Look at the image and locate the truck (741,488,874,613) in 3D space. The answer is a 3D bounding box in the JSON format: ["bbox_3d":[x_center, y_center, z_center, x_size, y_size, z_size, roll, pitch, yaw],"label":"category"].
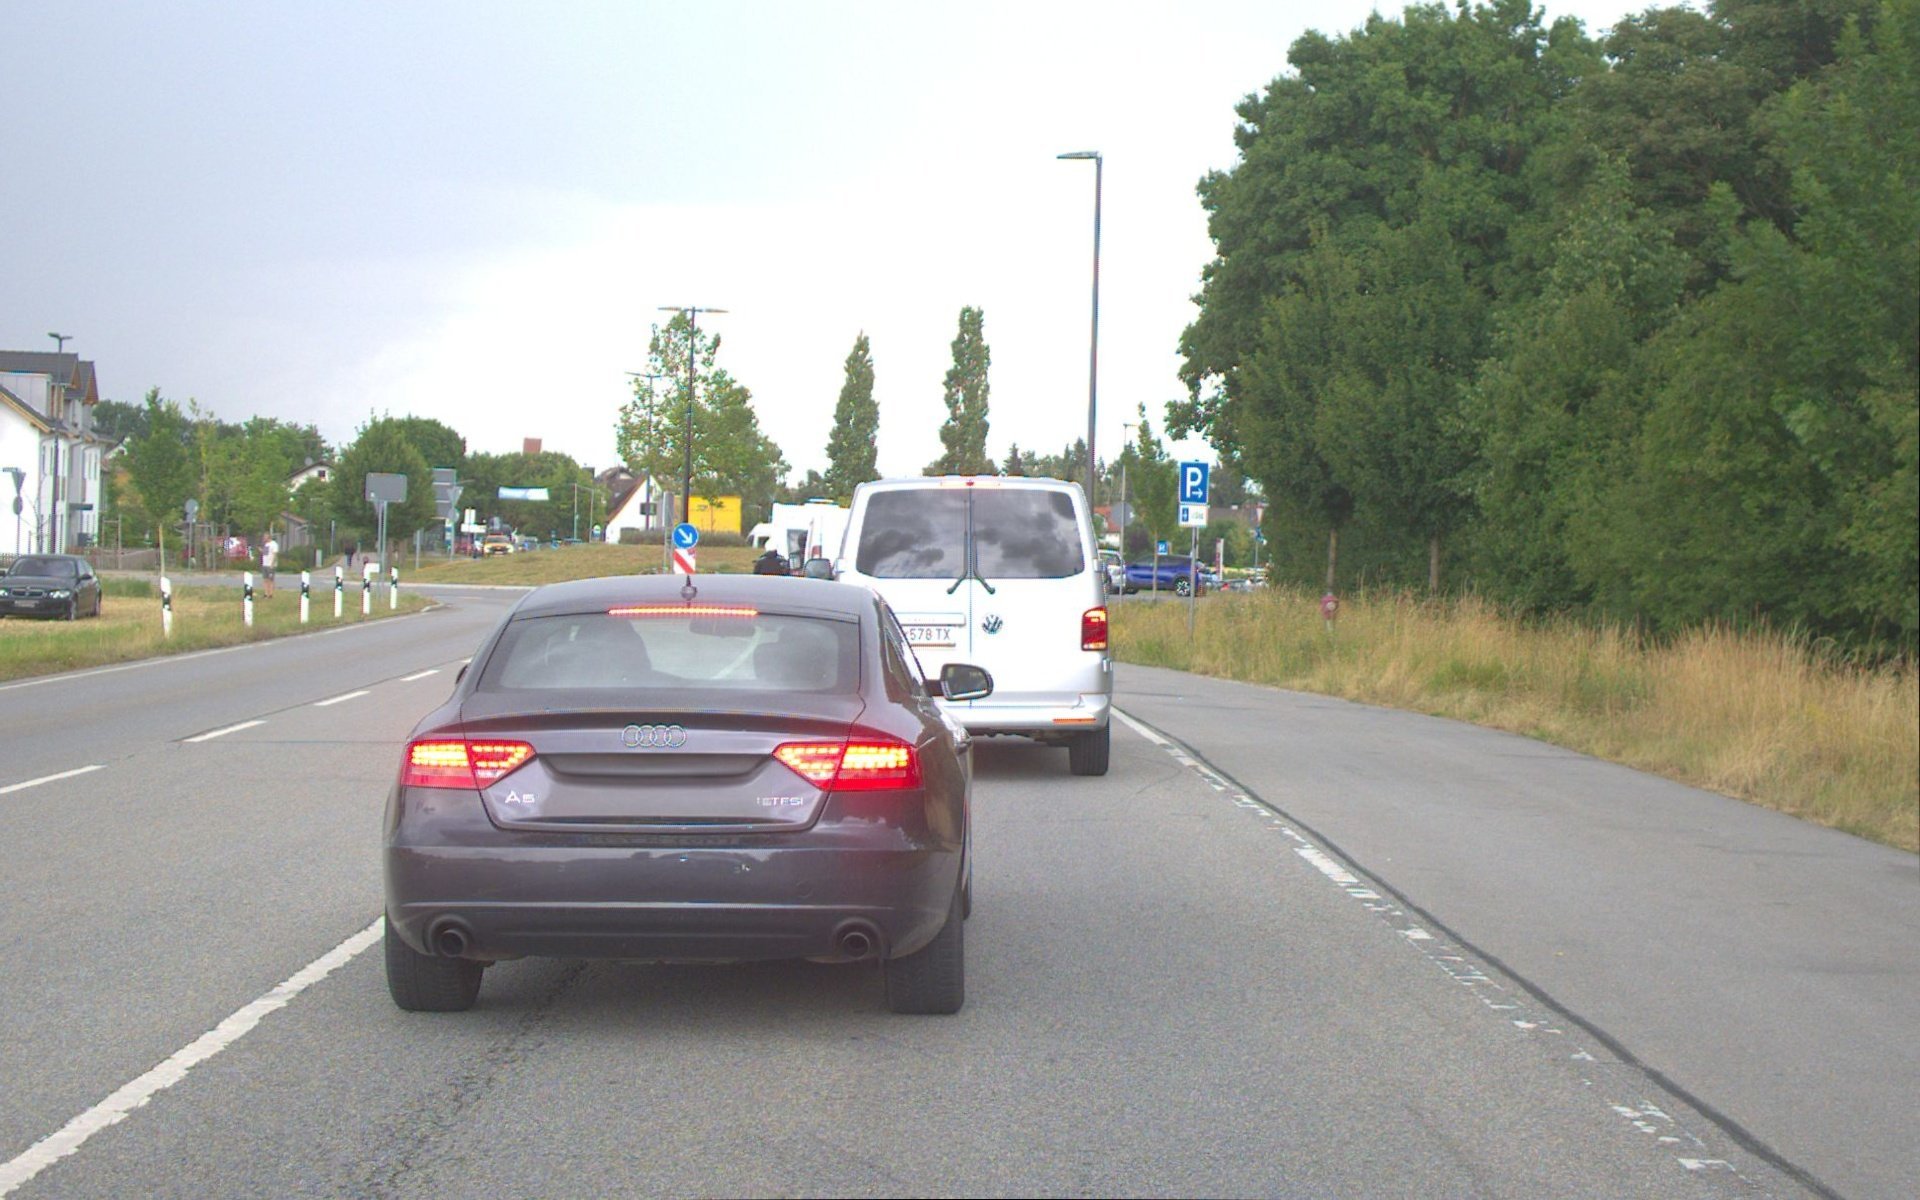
[{"bbox_3d":[-3.634,-1.166,80.777,2.626,2.728,5.868,2,1,-7],"label":"truck"}]

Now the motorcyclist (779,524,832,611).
[{"bbox_3d":[-2.510,-0.528,56.012,0.772,1.379,0.820,2,1,2],"label":"motorcyclist"}]

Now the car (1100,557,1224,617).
[{"bbox_3d":[7.293,-0.465,124.026,3.991,2.007,1.998,2,1,20],"label":"car"}]

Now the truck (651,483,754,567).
[{"bbox_3d":[-11.719,-3.409,155.744,3.575,3.566,9.959,2,1,-10],"label":"truck"}]

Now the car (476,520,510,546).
[{"bbox_3d":[-30.868,-4.429,227.318,1.993,1.636,4.001,2,1,-4],"label":"car"}]

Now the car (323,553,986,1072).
[{"bbox_3d":[-0.869,0.585,12.003,1.875,1.449,4.177,1,1,1],"label":"car"}]

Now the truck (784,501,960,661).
[{"bbox_3d":[-1.128,-0.276,46.561,2.193,2.007,5.085,1,1,0],"label":"truck"}]

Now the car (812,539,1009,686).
[{"bbox_3d":[-0.534,0.105,37.424,1.993,1.480,4.000,1,1,-1],"label":"car"}]

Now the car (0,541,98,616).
[{"bbox_3d":[-19.530,-0.479,73.307,1.993,1.437,4.001,1,2,-11],"label":"car"}]

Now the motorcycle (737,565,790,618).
[{"bbox_3d":[-3.978,-0.177,69.737,0.944,1.016,2.284,1,1,0],"label":"motorcycle"}]

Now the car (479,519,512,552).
[{"bbox_3d":[-29.564,-4.092,218.841,1.993,2.007,4.001,2,1,-7],"label":"car"}]

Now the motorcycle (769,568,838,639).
[{"bbox_3d":[-2.544,0.047,56.065,0.920,1.090,2.188,2,1,2],"label":"motorcycle"}]

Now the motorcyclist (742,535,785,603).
[{"bbox_3d":[-3.981,-0.623,69.694,0.785,1.352,0.854,1,1,0],"label":"motorcyclist"}]

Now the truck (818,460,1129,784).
[{"bbox_3d":[0.092,0.097,23.924,1.904,1.991,4.628,1,1,0],"label":"truck"}]

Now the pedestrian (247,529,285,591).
[{"bbox_3d":[-18.133,-1.041,89.841,0.701,1.580,0.657,2,1,22],"label":"pedestrian"}]
